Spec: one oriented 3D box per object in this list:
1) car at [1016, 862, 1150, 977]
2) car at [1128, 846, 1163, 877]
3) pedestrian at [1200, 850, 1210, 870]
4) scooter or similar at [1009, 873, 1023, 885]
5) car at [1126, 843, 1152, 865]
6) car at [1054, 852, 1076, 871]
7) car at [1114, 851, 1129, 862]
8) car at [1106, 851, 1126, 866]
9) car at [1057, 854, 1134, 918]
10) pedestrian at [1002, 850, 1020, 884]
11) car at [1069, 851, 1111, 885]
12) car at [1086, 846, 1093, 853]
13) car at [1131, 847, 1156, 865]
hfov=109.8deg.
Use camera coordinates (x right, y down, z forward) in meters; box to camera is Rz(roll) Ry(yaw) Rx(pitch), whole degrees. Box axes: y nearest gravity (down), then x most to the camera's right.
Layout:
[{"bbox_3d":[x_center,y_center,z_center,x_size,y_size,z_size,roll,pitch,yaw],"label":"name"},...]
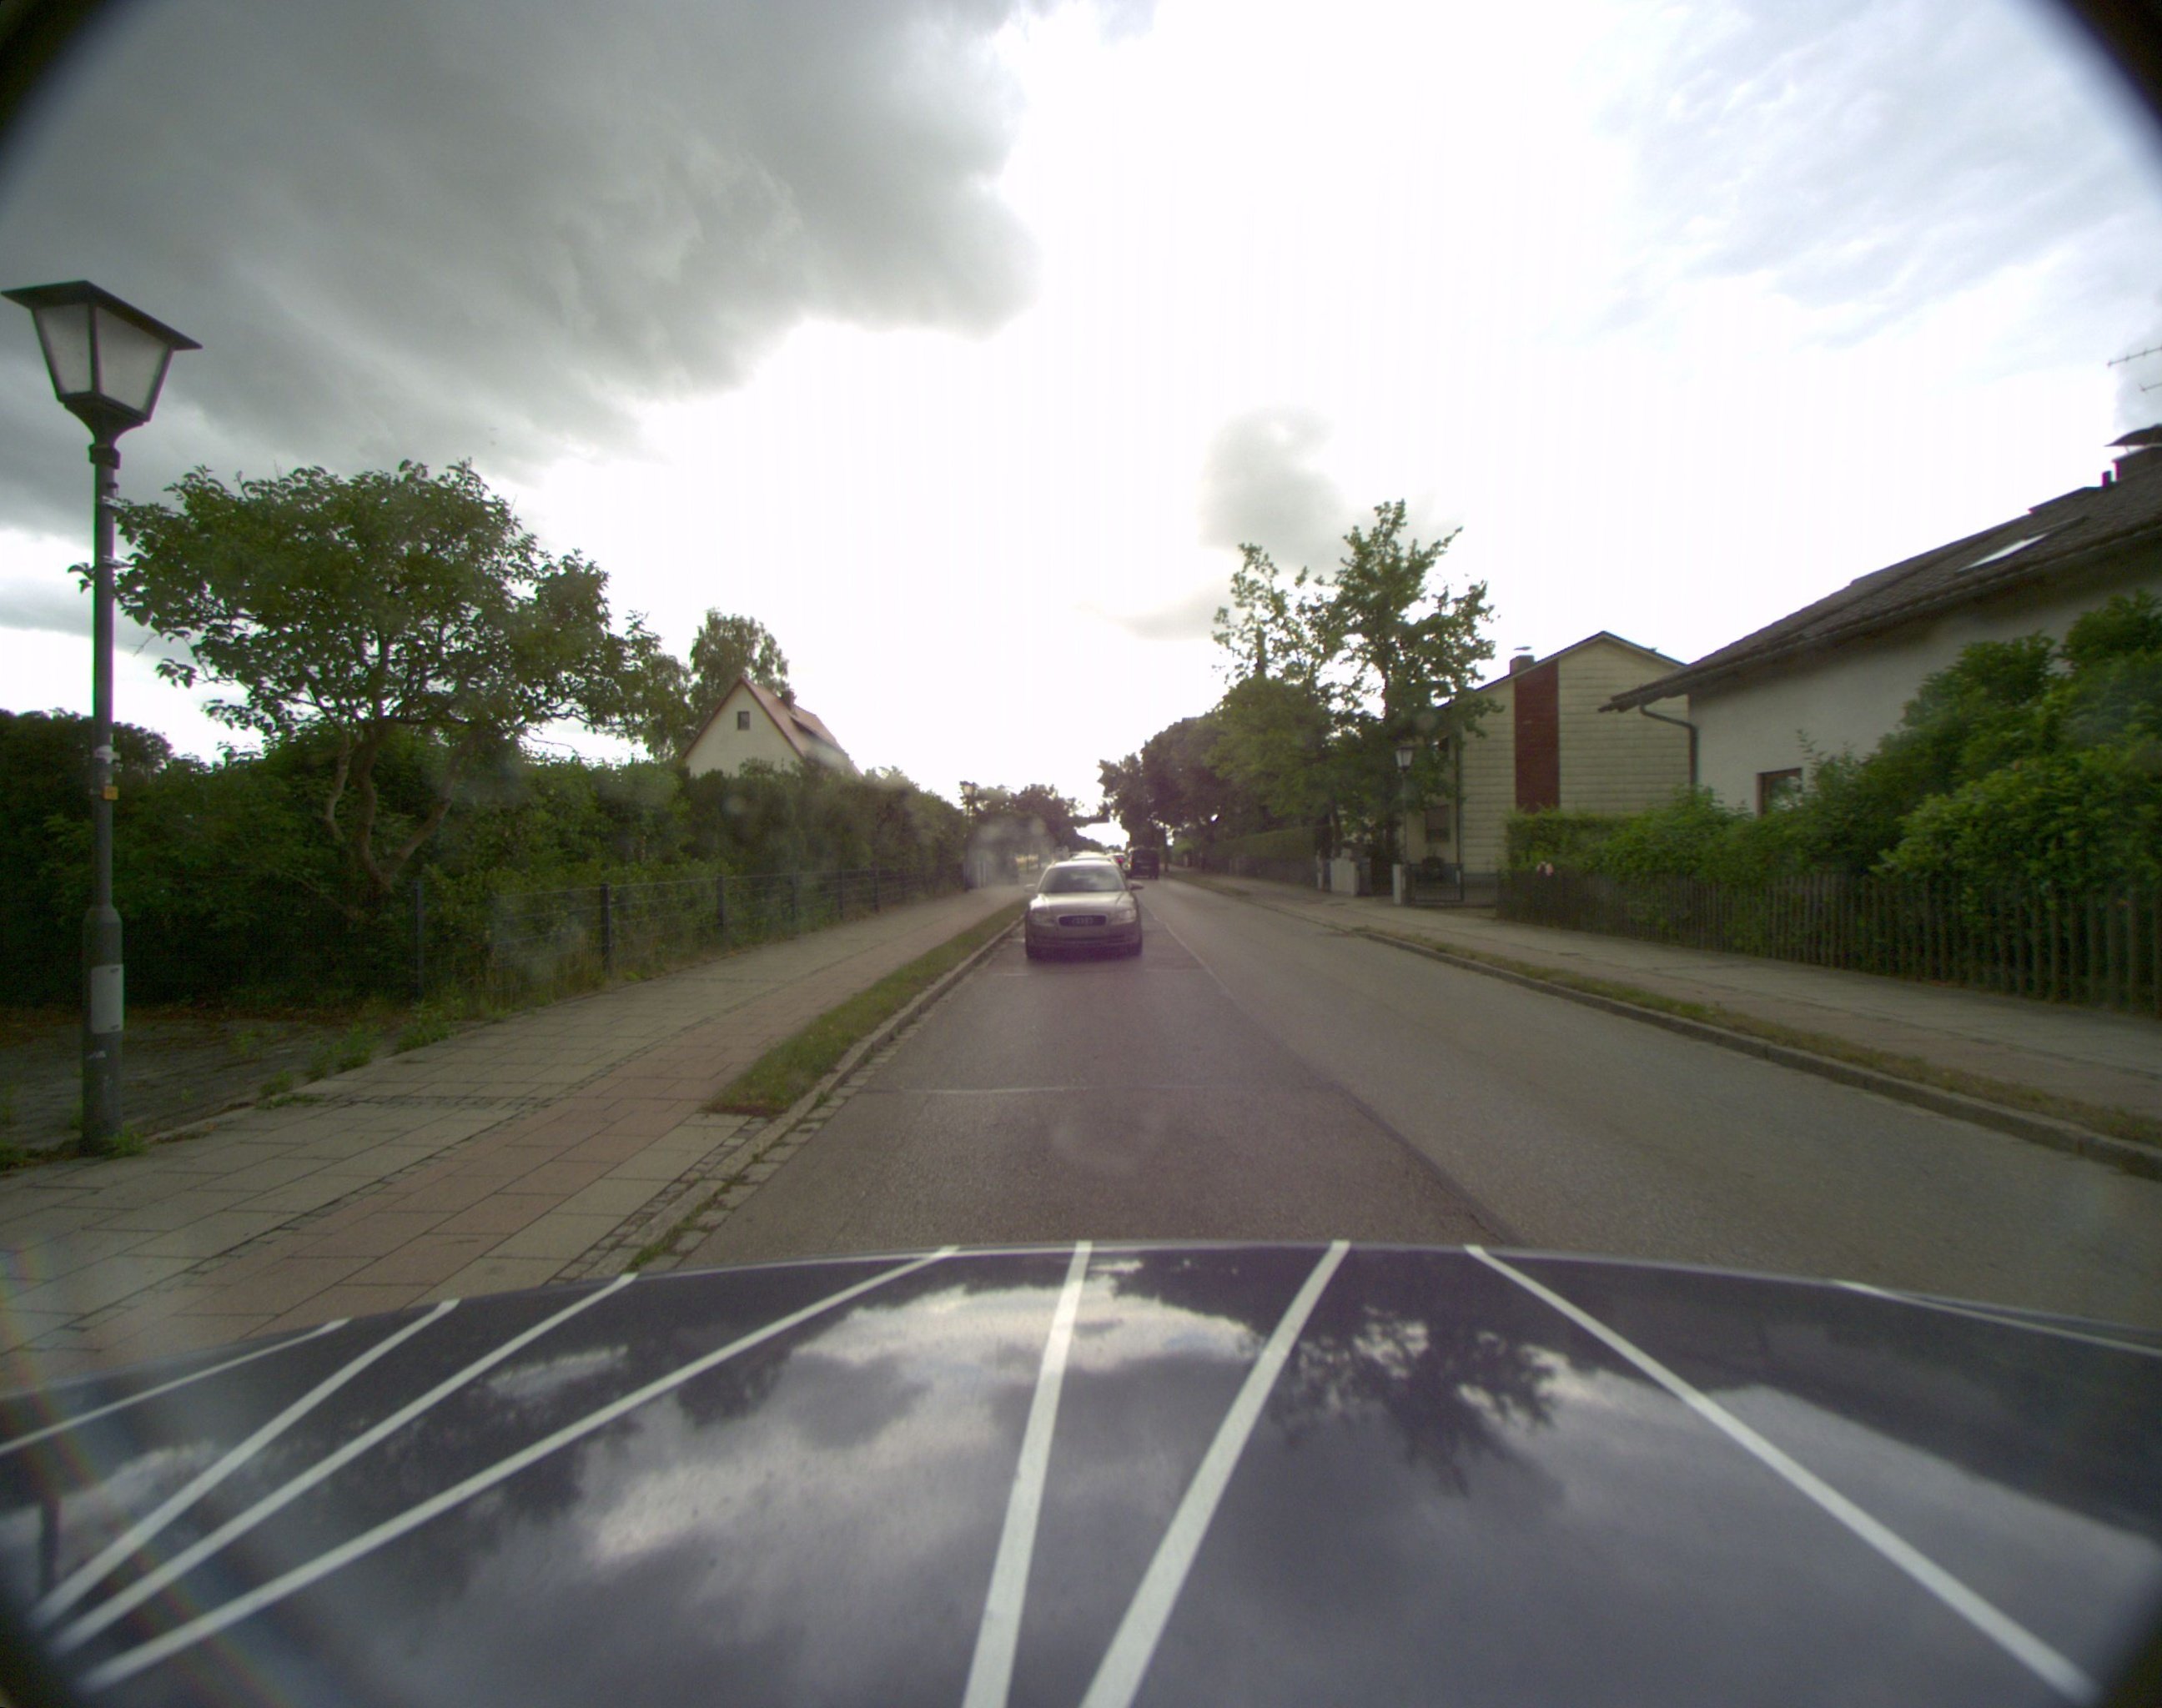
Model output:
[{"bbox_3d":[0.044,0.920,12.577,1.809,1.476,4.270,-1,0,0],"label":"car"},{"bbox_3d":[4.061,0.449,48.726,1.969,1.842,4.948,-1,0,2],"label":"car"},{"bbox_3d":[9.057,0.457,55.686,0.631,1.429,0.563,-1,1,1],"label":"pedestrian"},{"bbox_3d":[-3.092,1.189,36.164,0.618,0.553,0.742,-1,0,-1],"label":"scooter or similar"},{"bbox_3d":[6.258,0.010,82.547,2.246,2.258,4.469,-1,0,-2],"label":"car"},{"bbox_3d":[-1.369,0.647,66.593,1.866,1.518,4.122,-2,0,-1],"label":"car"},{"bbox_3d":[5.613,0.277,105.716,1.756,1.475,4.375,-1,0,-1],"label":"car"},{"bbox_3d":[3.526,0.410,77.890,1.851,1.445,4.548,-1,0,0],"label":"car"},{"bbox_3d":[0.384,0.806,21.441,1.866,1.518,4.943,-1,0,1],"label":"car"},{"bbox_3d":[-3.386,0.627,36.861,0.792,1.593,0.671,-1,1,-2],"label":"pedestrian"},{"bbox_3d":[0.441,0.626,36.905,1.866,1.518,4.122,-1,0,0],"label":"car"},{"bbox_3d":[2.400,-1.177,222.576,1.998,2.002,4.000,-1,0,1],"label":"car"},{"bbox_3d":[6.256,0.219,76.084,1.999,1.739,3.999,-1,0,-2],"label":"car"}]
